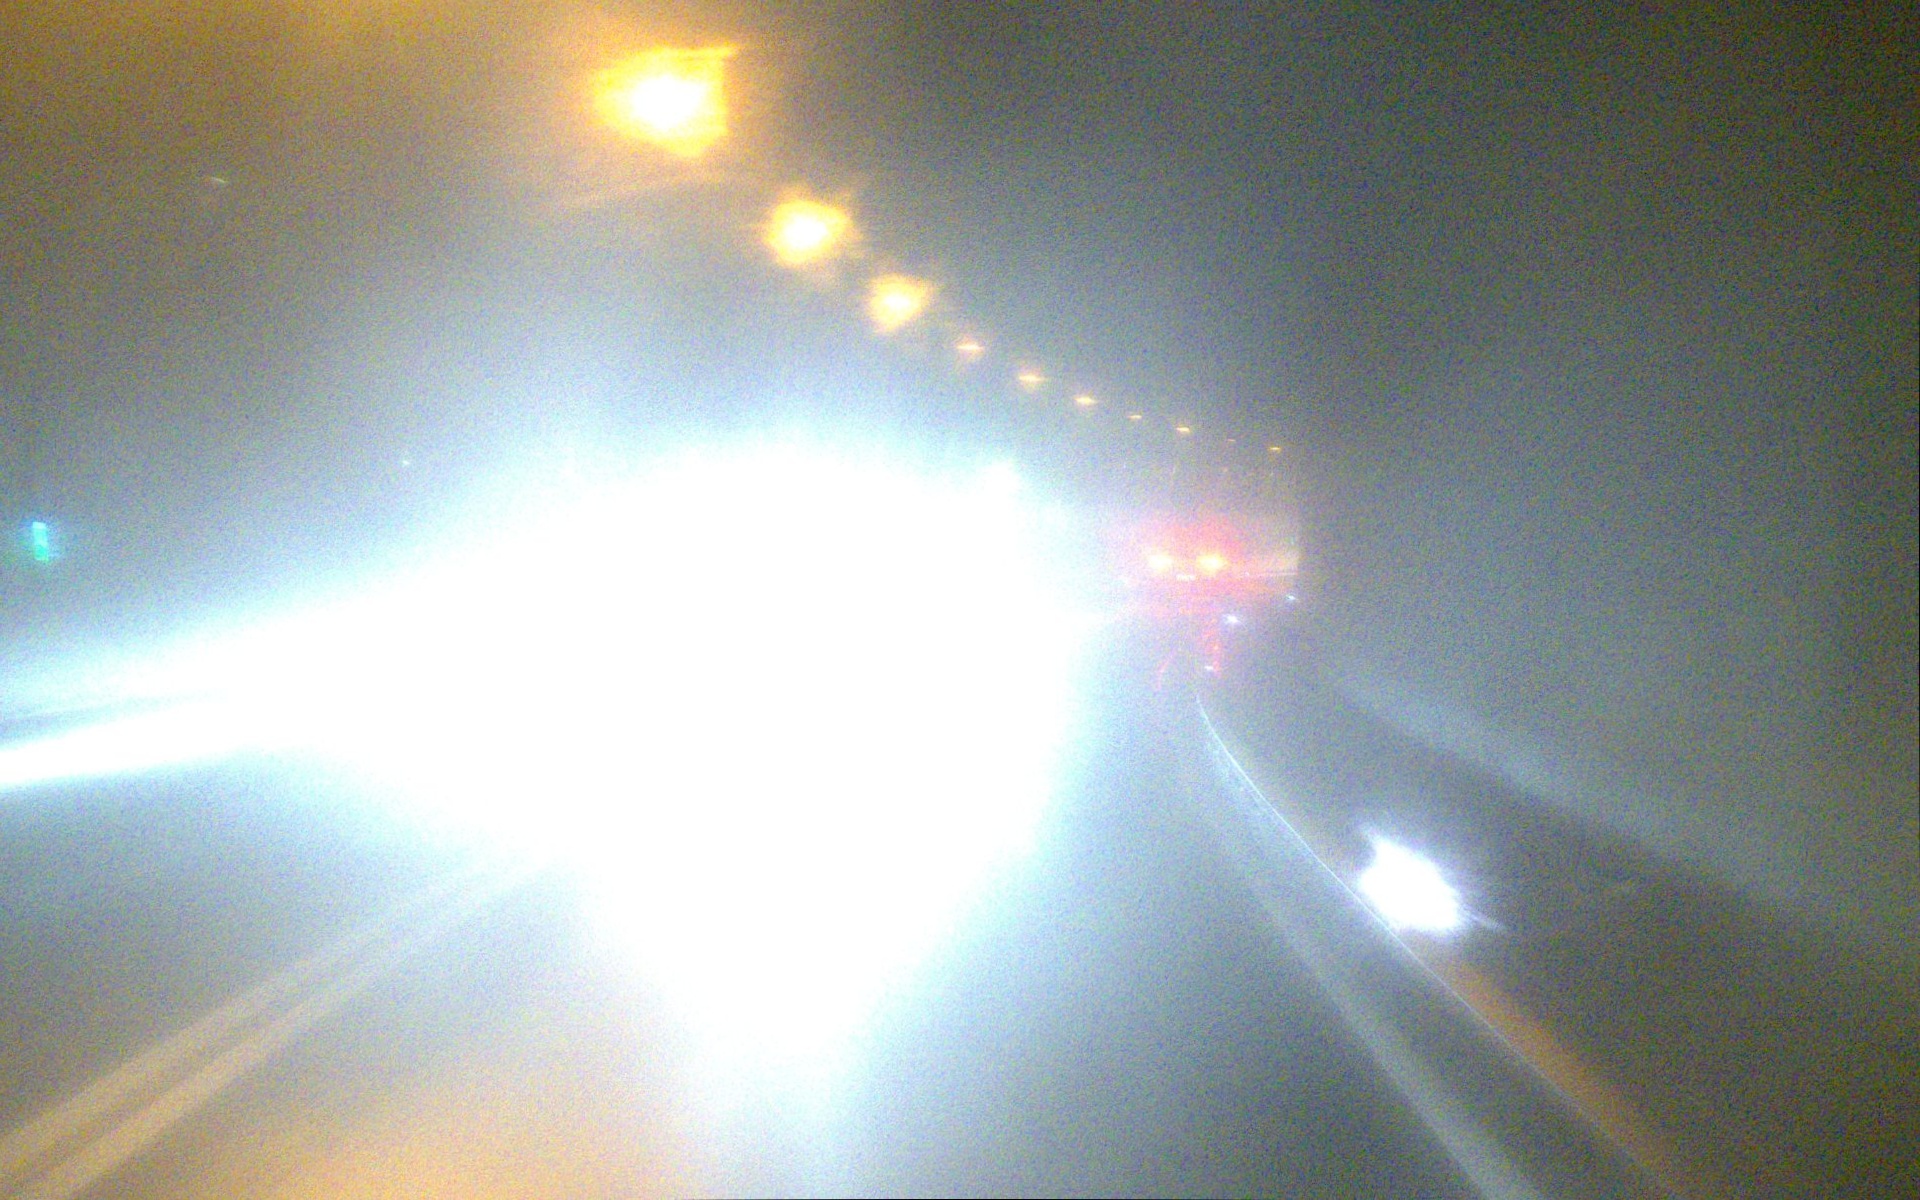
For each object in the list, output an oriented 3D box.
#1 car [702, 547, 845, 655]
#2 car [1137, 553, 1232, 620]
[{"bbox_3d":[-2.480,-0.017,46.499,1.629,1.392,4.000,0,1,1],"label":"car"},{"bbox_3d":[5.782,-0.368,88.037,1.994,1.645,3.998,0,1,10],"label":"car"}]
